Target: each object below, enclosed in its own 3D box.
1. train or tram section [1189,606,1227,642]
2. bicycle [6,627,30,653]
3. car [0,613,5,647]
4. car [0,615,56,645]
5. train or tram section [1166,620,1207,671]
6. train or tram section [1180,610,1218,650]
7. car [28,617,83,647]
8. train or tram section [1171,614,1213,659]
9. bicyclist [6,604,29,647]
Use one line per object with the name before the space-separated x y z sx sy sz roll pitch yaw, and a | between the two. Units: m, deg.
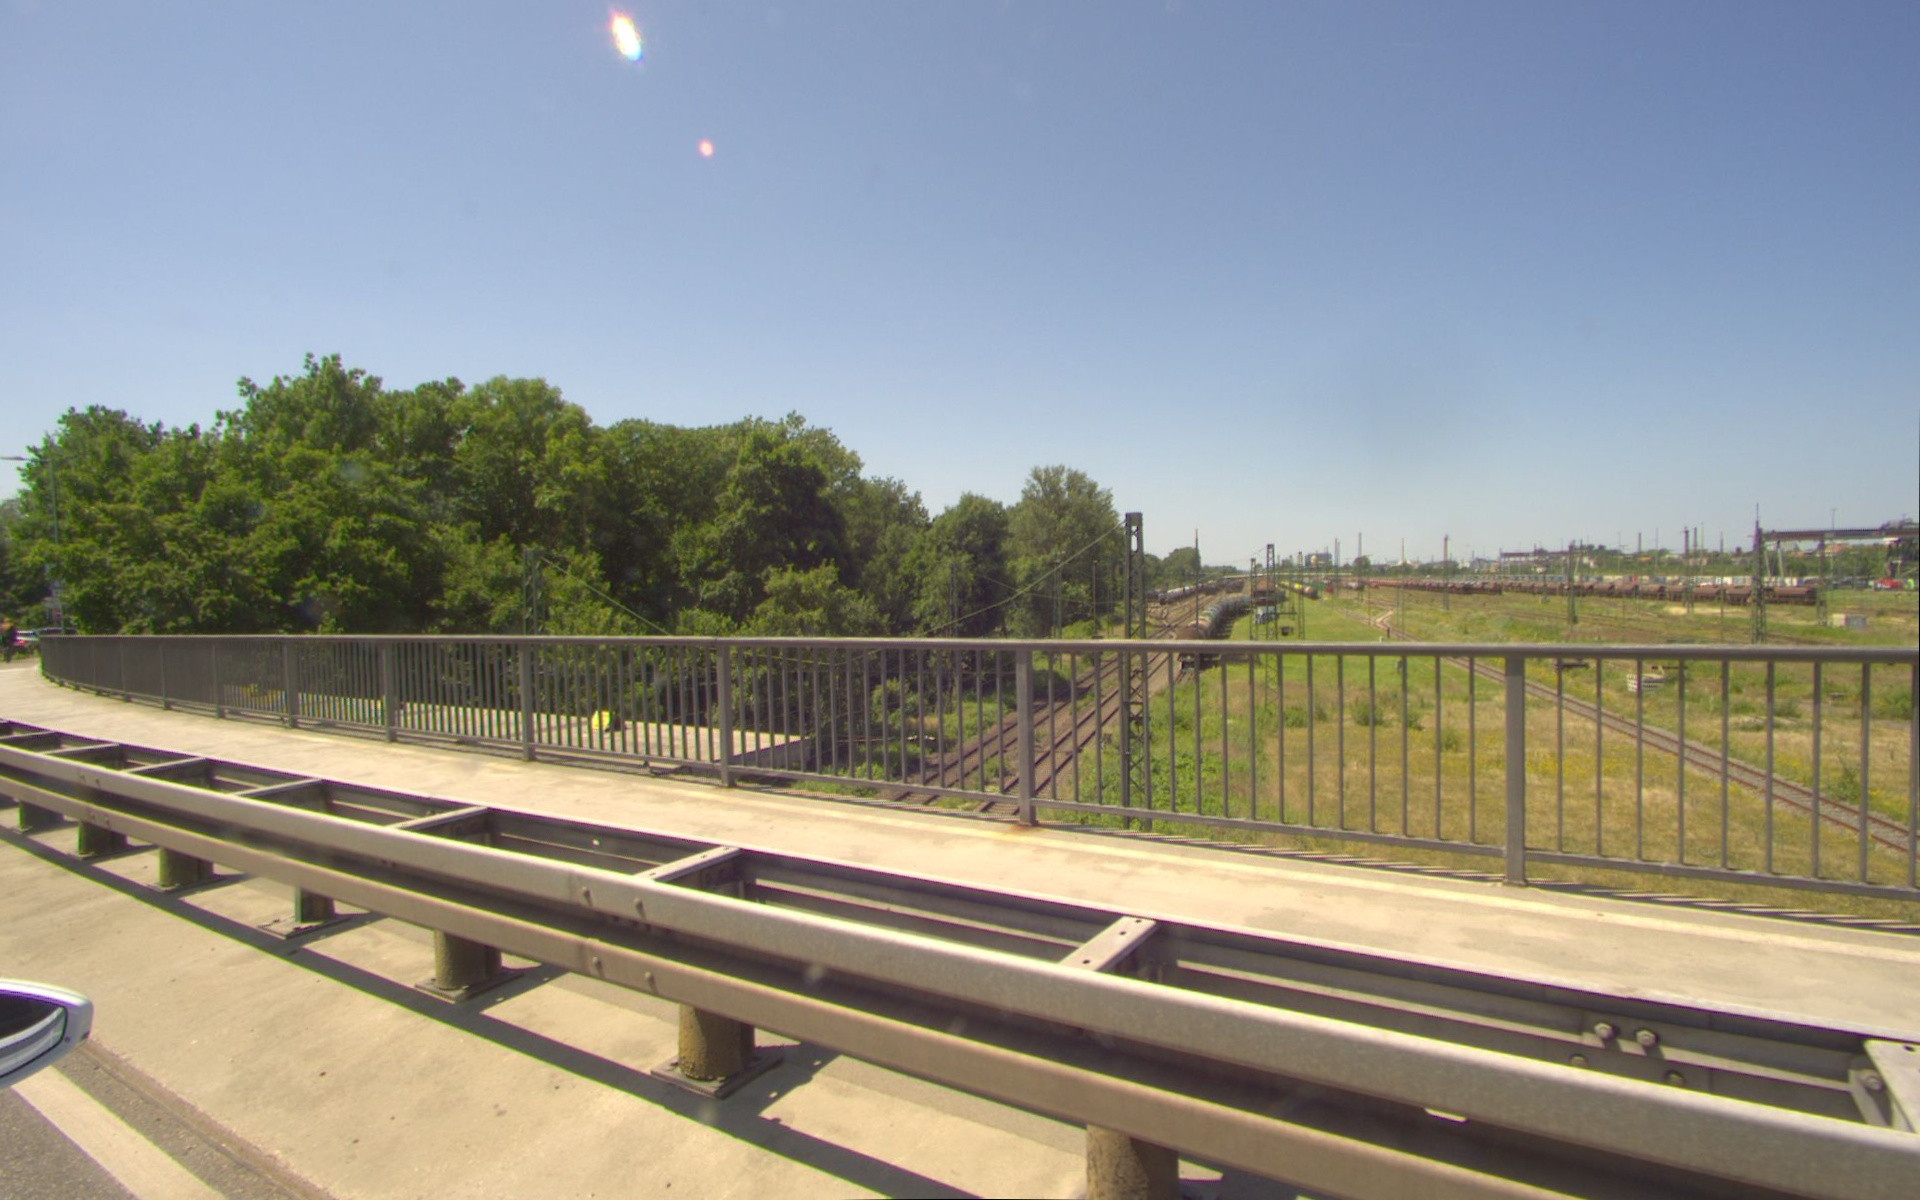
train or tram section | 36.358 3.439 146.379 3.785 4.366 13.596 -2 1 20
bicycle | -38.648 1.631 41.089 1.469 1.050 0.578 -1 2 43
car | -50.187 1.548 50.898 1.668 1.783 3.976 0 -2 -33
car | -53.494 1.746 57.145 1.972 1.594 3.981 2 -4 -30
train or tram section | 24.409 4.696 107.421 3.781 4.366 13.611 -2 1 14
train or tram section | 32.027 3.859 133.554 3.784 4.366 13.601 -2 1 18
car | -56.768 1.999 62.921 1.666 1.783 3.982 0 -2 -28
train or tram section | 28.046 4.285 120.577 3.783 4.366 13.603 -2 1 17
bicyclist | -38.636 1.031 41.048 0.721 1.706 0.574 0 3 42
